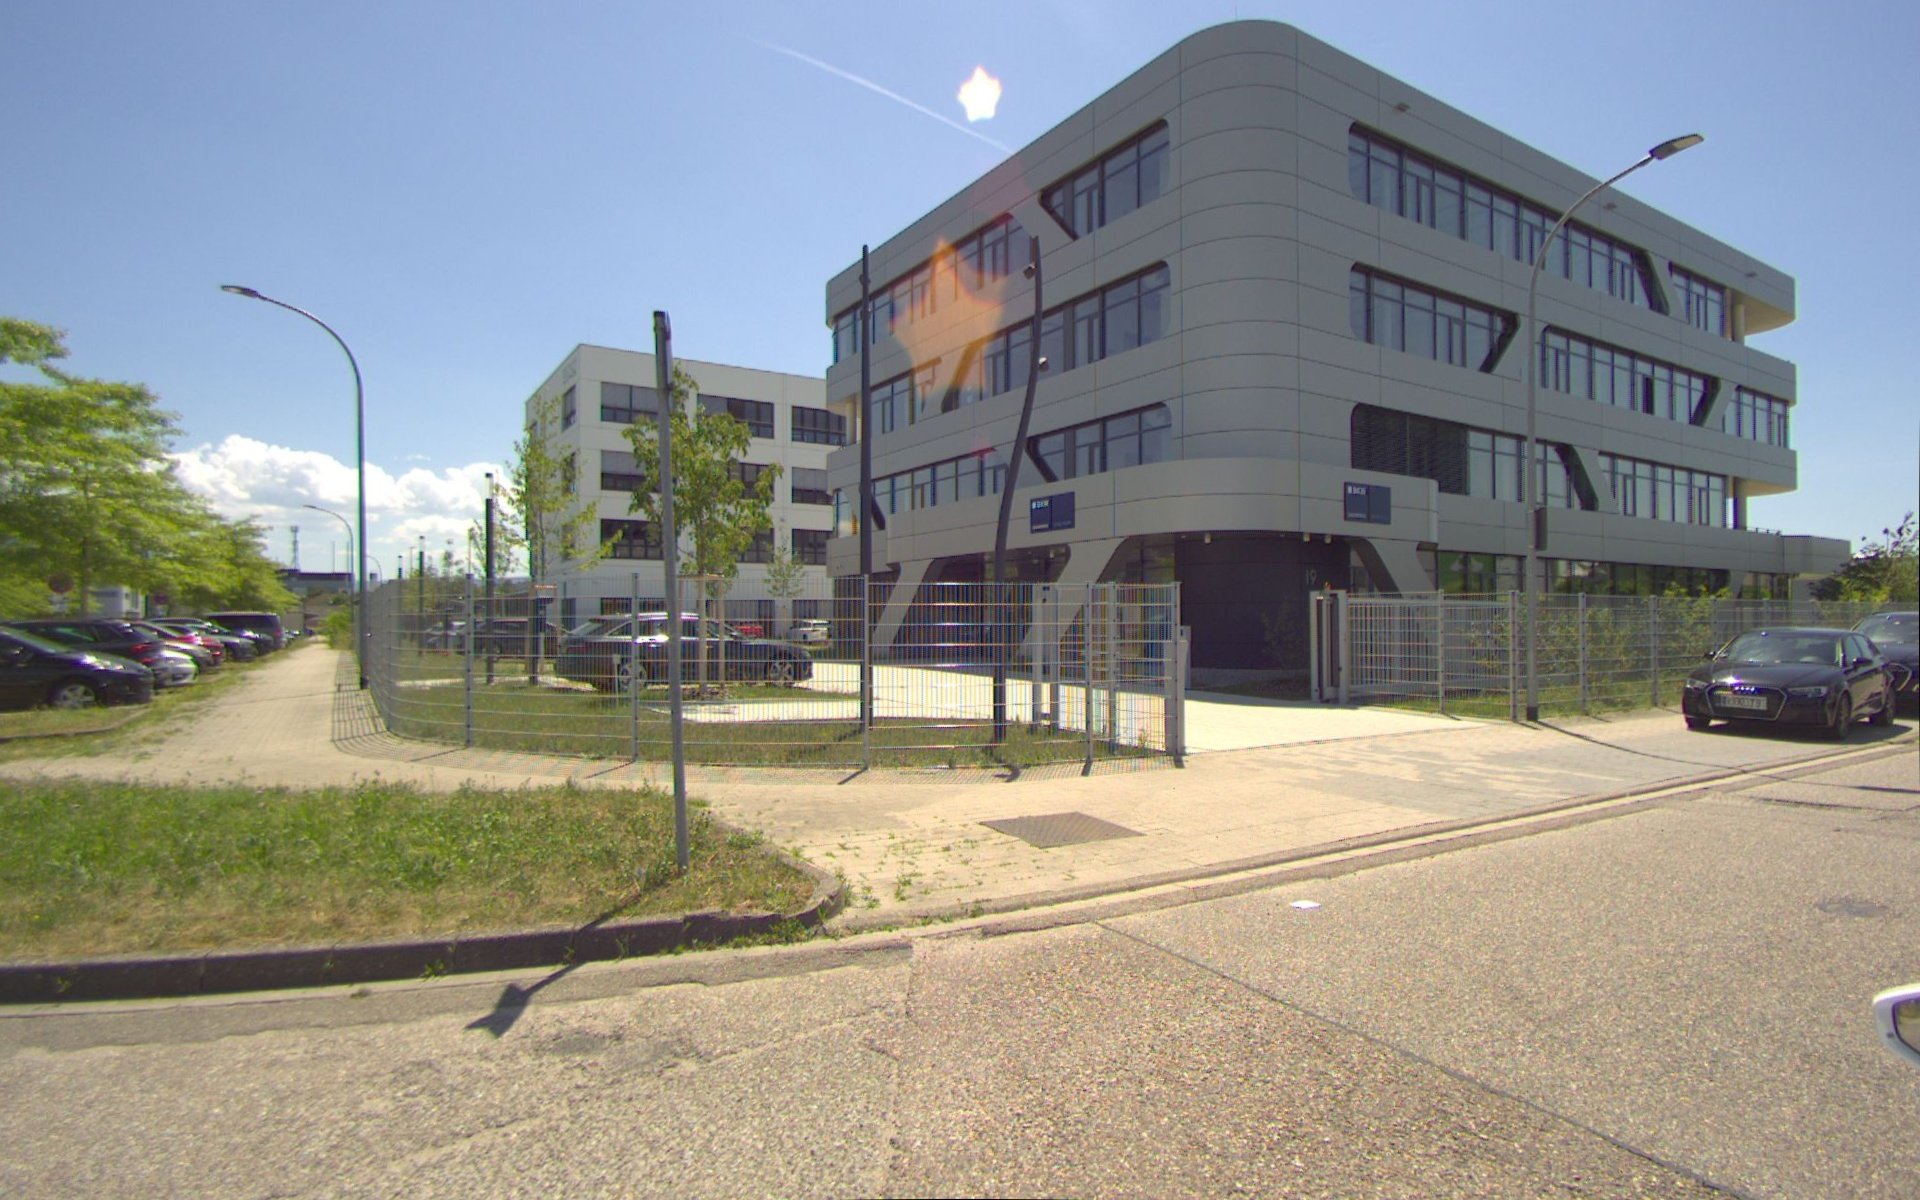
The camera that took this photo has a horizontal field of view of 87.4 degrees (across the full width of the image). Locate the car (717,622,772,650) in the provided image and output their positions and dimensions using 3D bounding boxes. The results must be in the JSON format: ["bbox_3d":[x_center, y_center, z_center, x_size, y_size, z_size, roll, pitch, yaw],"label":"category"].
[{"bbox_3d":[-12.582,2.104,58.415,1.758,1.531,4.068,0,-2,-34],"label":"car"}]

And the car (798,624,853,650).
[{"bbox_3d":[-8.264,2.258,61.340,1.758,1.531,4.068,0,-2,-34],"label":"car"}]

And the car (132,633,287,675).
[{"bbox_3d":[-31.616,2.256,42.558,5.060,1.495,2.196,-1,-1,-33],"label":"car"}]

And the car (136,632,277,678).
[{"bbox_3d":[-28.076,2.034,37.607,4.072,1.495,1.597,-1,-1,-33],"label":"car"}]

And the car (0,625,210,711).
[{"bbox_3d":[-17.504,1.317,19.923,4.072,1.495,1.597,-1,-1,-33],"label":"car"}]

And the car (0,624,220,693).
[{"bbox_3d":[-21.435,1.425,25.535,4.072,1.495,1.597,-1,-1,-33],"label":"car"}]

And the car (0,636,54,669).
[{"bbox_3d":[-51.994,2.861,54.283,4.157,1.720,1.942,1,-1,-32],"label":"car"}]

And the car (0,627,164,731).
[{"bbox_3d":[-14.887,1.234,15.580,3.754,1.495,1.598,-1,-1,-31],"label":"car"}]

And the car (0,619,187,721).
[{"bbox_3d":[-16.408,1.241,17.689,4.203,1.642,1.598,-1,-1,-31],"label":"car"}]

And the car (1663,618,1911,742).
[{"bbox_3d":[12.038,1.049,14.551,4.144,1.486,1.758,0,-1,-36],"label":"car"}]

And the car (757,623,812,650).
[{"bbox_3d":[-10.573,2.182,60.190,1.758,1.531,4.068,0,-2,-34],"label":"car"}]

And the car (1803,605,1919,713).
[{"bbox_3d":[16.790,0.941,17.537,4.796,1.673,1.760,-1,-1,-32],"label":"car"}]

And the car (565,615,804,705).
[{"bbox_3d":[-5.204,1.076,19.122,4.062,1.531,1.760,0,-2,-34],"label":"car"}]

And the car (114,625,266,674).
[{"bbox_3d":[-26.891,1.711,35.258,4.072,1.495,1.597,-1,-1,-33],"label":"car"}]

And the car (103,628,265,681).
[{"bbox_3d":[-25.475,1.756,33.176,4.072,1.495,1.597,-1,-1,-33],"label":"car"}]

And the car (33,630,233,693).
[{"bbox_3d":[-22.671,1.650,27.761,4.072,1.495,1.597,-1,-1,-33],"label":"car"}]
